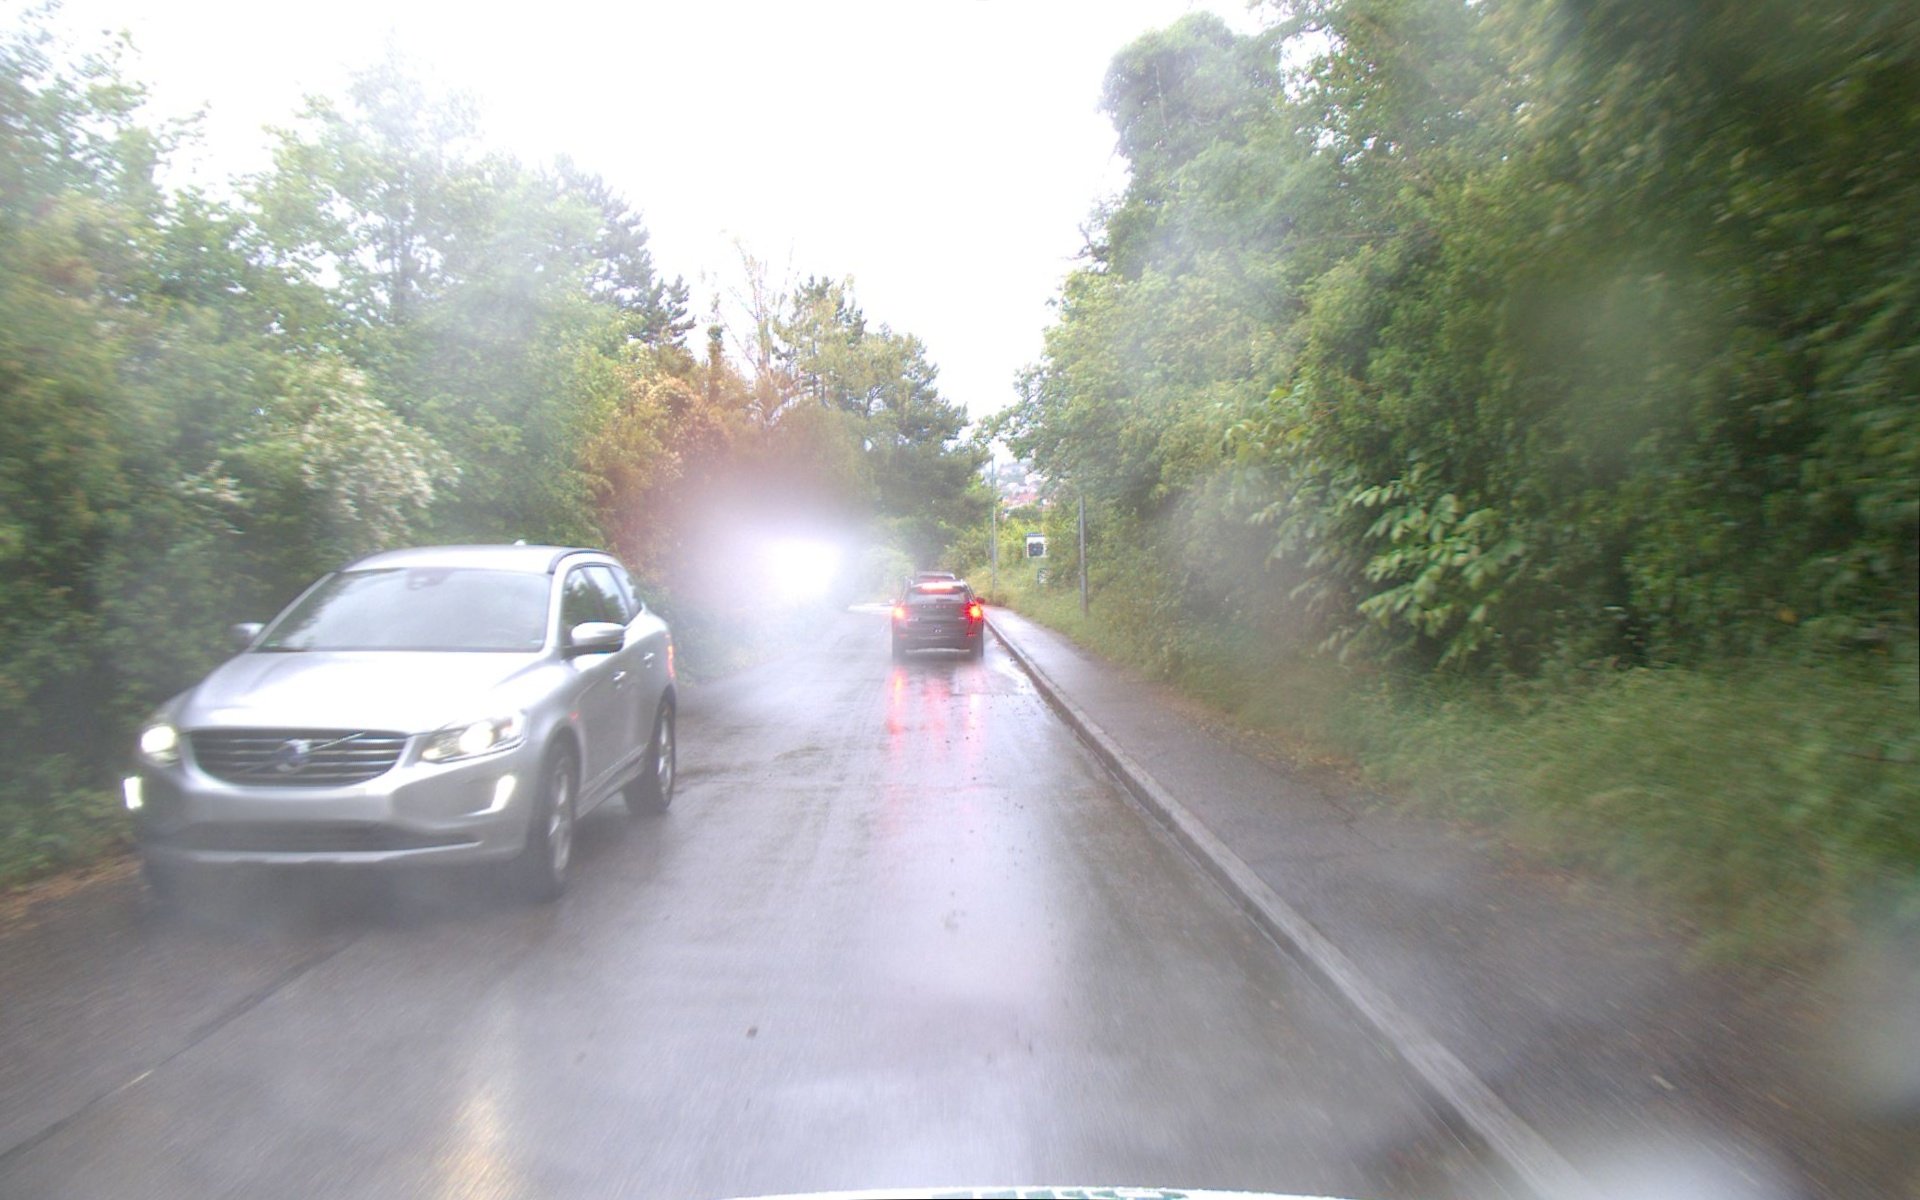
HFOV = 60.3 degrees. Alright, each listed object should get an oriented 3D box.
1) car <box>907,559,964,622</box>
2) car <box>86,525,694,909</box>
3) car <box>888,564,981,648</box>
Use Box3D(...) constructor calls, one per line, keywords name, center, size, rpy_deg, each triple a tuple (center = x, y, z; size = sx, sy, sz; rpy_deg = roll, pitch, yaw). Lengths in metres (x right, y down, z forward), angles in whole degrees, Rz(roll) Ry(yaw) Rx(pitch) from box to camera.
Box3D(name="car", center=(-0.846, -0.273, 54.977), size=(1.825, 1.774, 3.997), rpy_deg=(0, -4, -2))
Box3D(name="car", center=(-2.787, 0.460, 9.226), size=(2.006, 1.629, 4.228), rpy_deg=(1, 1, -2))
Box3D(name="car", center=(-0.484, 0.094, 31.954), size=(1.665, 1.475, 3.999), rpy_deg=(-1, 0, -1))
